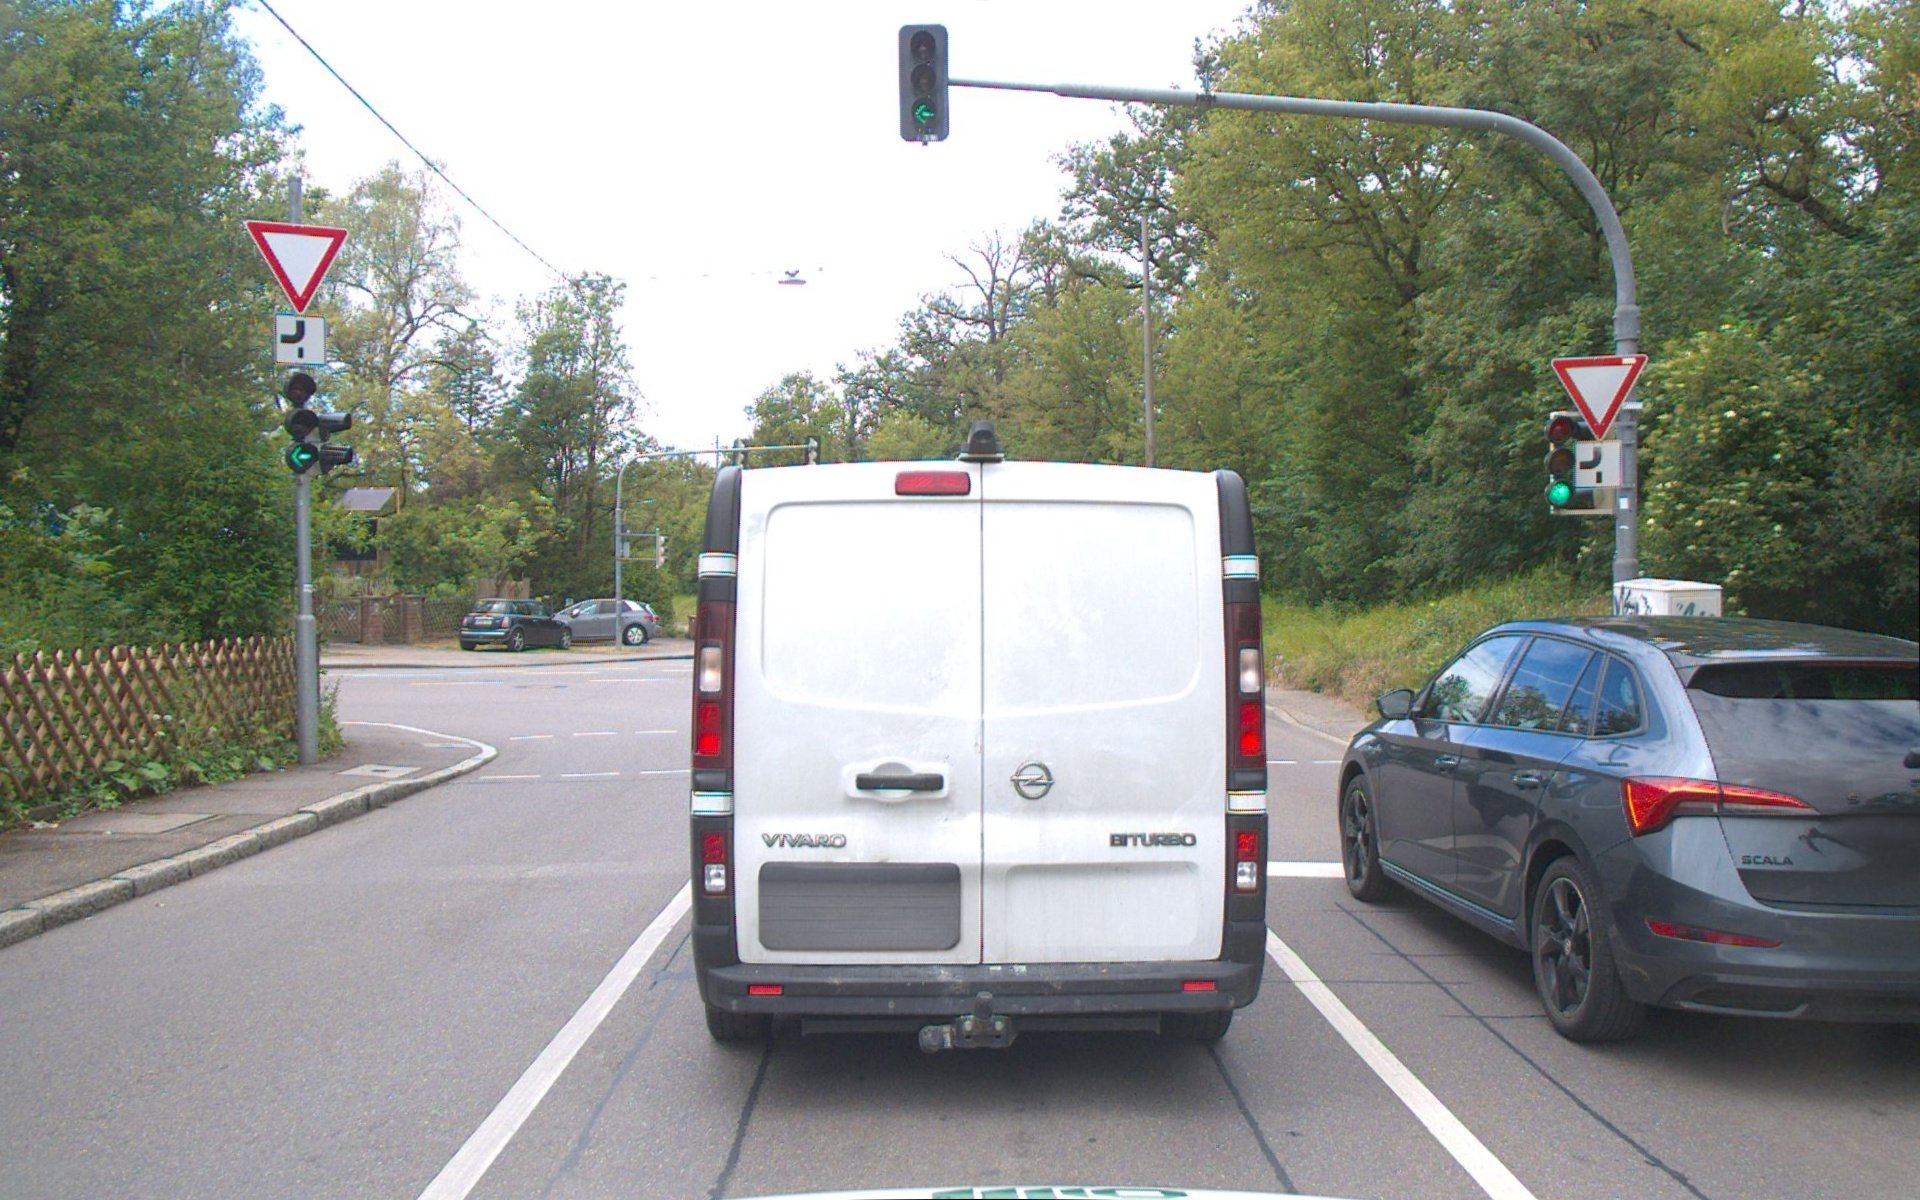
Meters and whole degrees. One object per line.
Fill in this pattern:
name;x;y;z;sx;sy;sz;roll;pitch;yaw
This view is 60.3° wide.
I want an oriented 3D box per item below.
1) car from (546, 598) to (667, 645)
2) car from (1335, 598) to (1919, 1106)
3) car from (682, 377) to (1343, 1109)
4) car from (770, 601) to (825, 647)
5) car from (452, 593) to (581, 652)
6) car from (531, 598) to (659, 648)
car;-12.465;0.736;58.278;4.023;1.580;1.845;0;1;-18
car;2.959;0.741;6.909;1.756;1.476;3.998;0;0;-2
car;0.046;0.416;7.106;1.878;2.089;4.611;1;0;-3
car;-5.643;0.811;57.646;1.821;1.533;3.996;0;0;-5
car;-12.020;0.605;45.049;1.662;1.474;3.544;2;0;19
car;-12.225;0.755;55.345;4.023;1.580;1.845;0;1;-18
